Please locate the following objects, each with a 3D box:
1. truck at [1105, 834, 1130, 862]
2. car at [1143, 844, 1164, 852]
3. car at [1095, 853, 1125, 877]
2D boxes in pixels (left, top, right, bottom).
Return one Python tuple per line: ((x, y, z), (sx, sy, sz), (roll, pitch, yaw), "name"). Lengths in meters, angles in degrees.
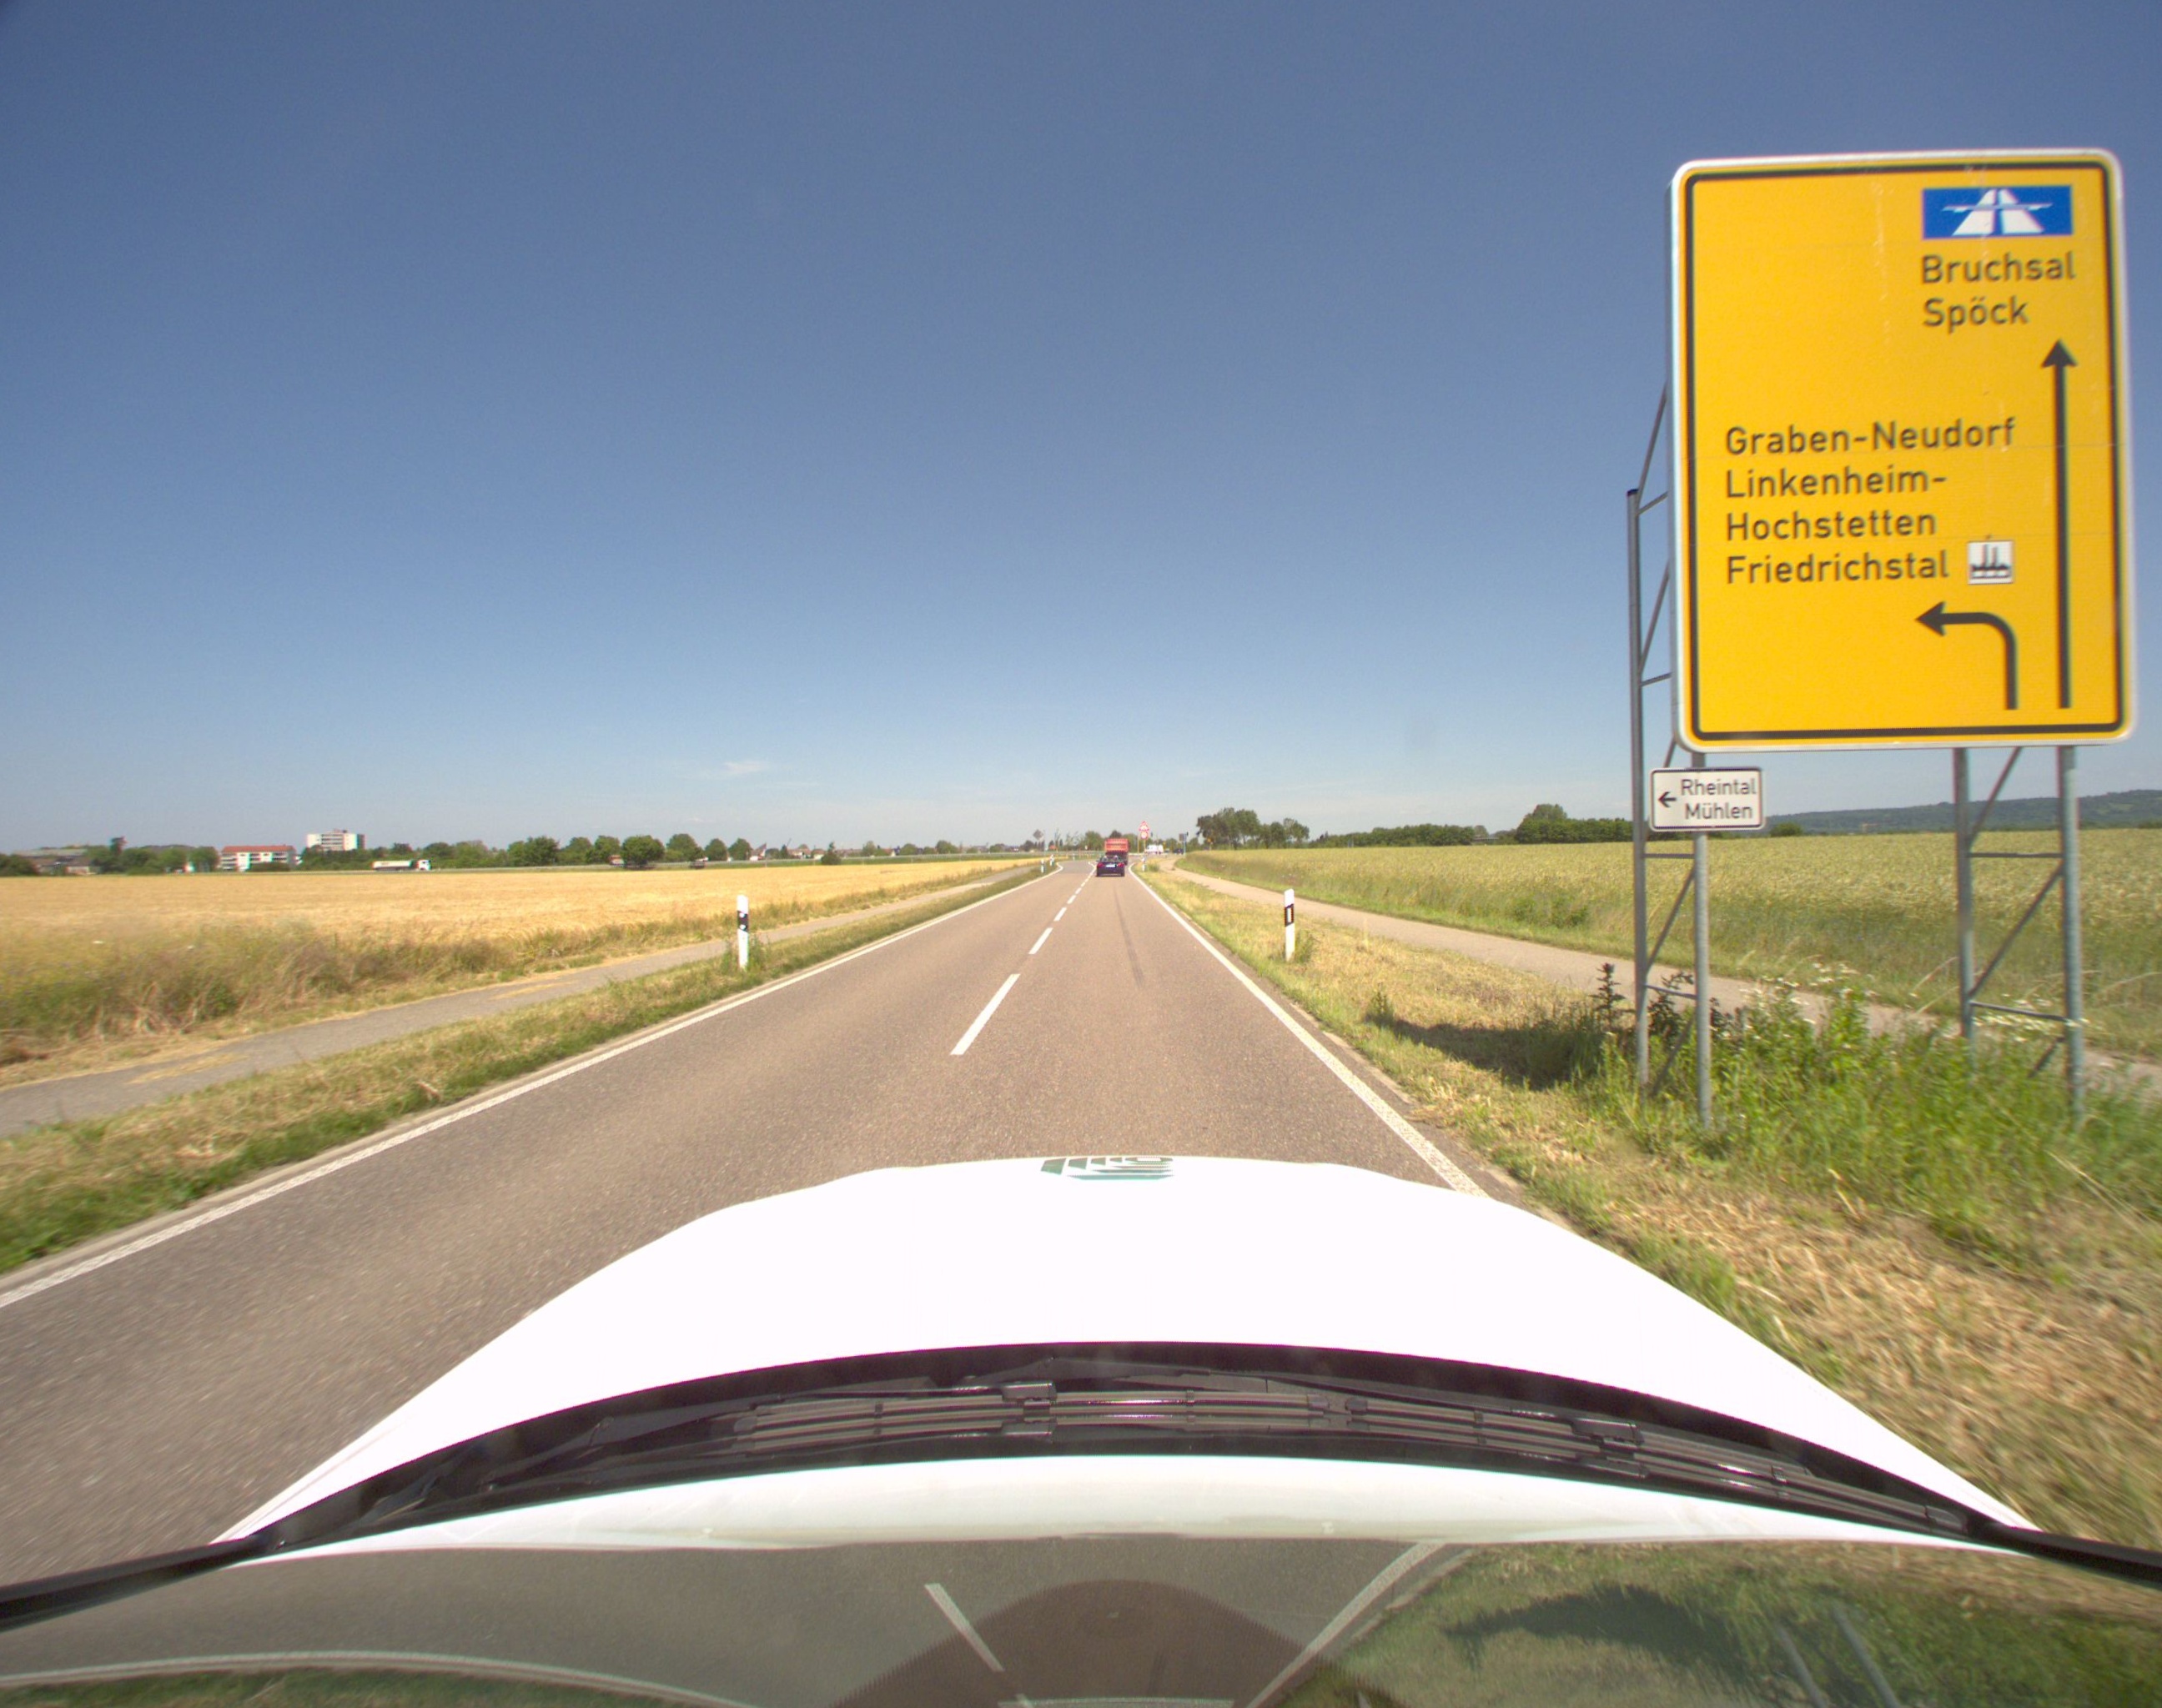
((4.143, -0.615, 93.736), (2.704, 3.053, 8.167), (0, -1, 2), "truck")
((21.054, -1.813, 236.404), (5.861, 2.421, 2.262), (0, 1, 39), "car")
((1.808, 0.689, 50.874), (1.741, 1.376, 3.680), (1, -1, 2), "car")
